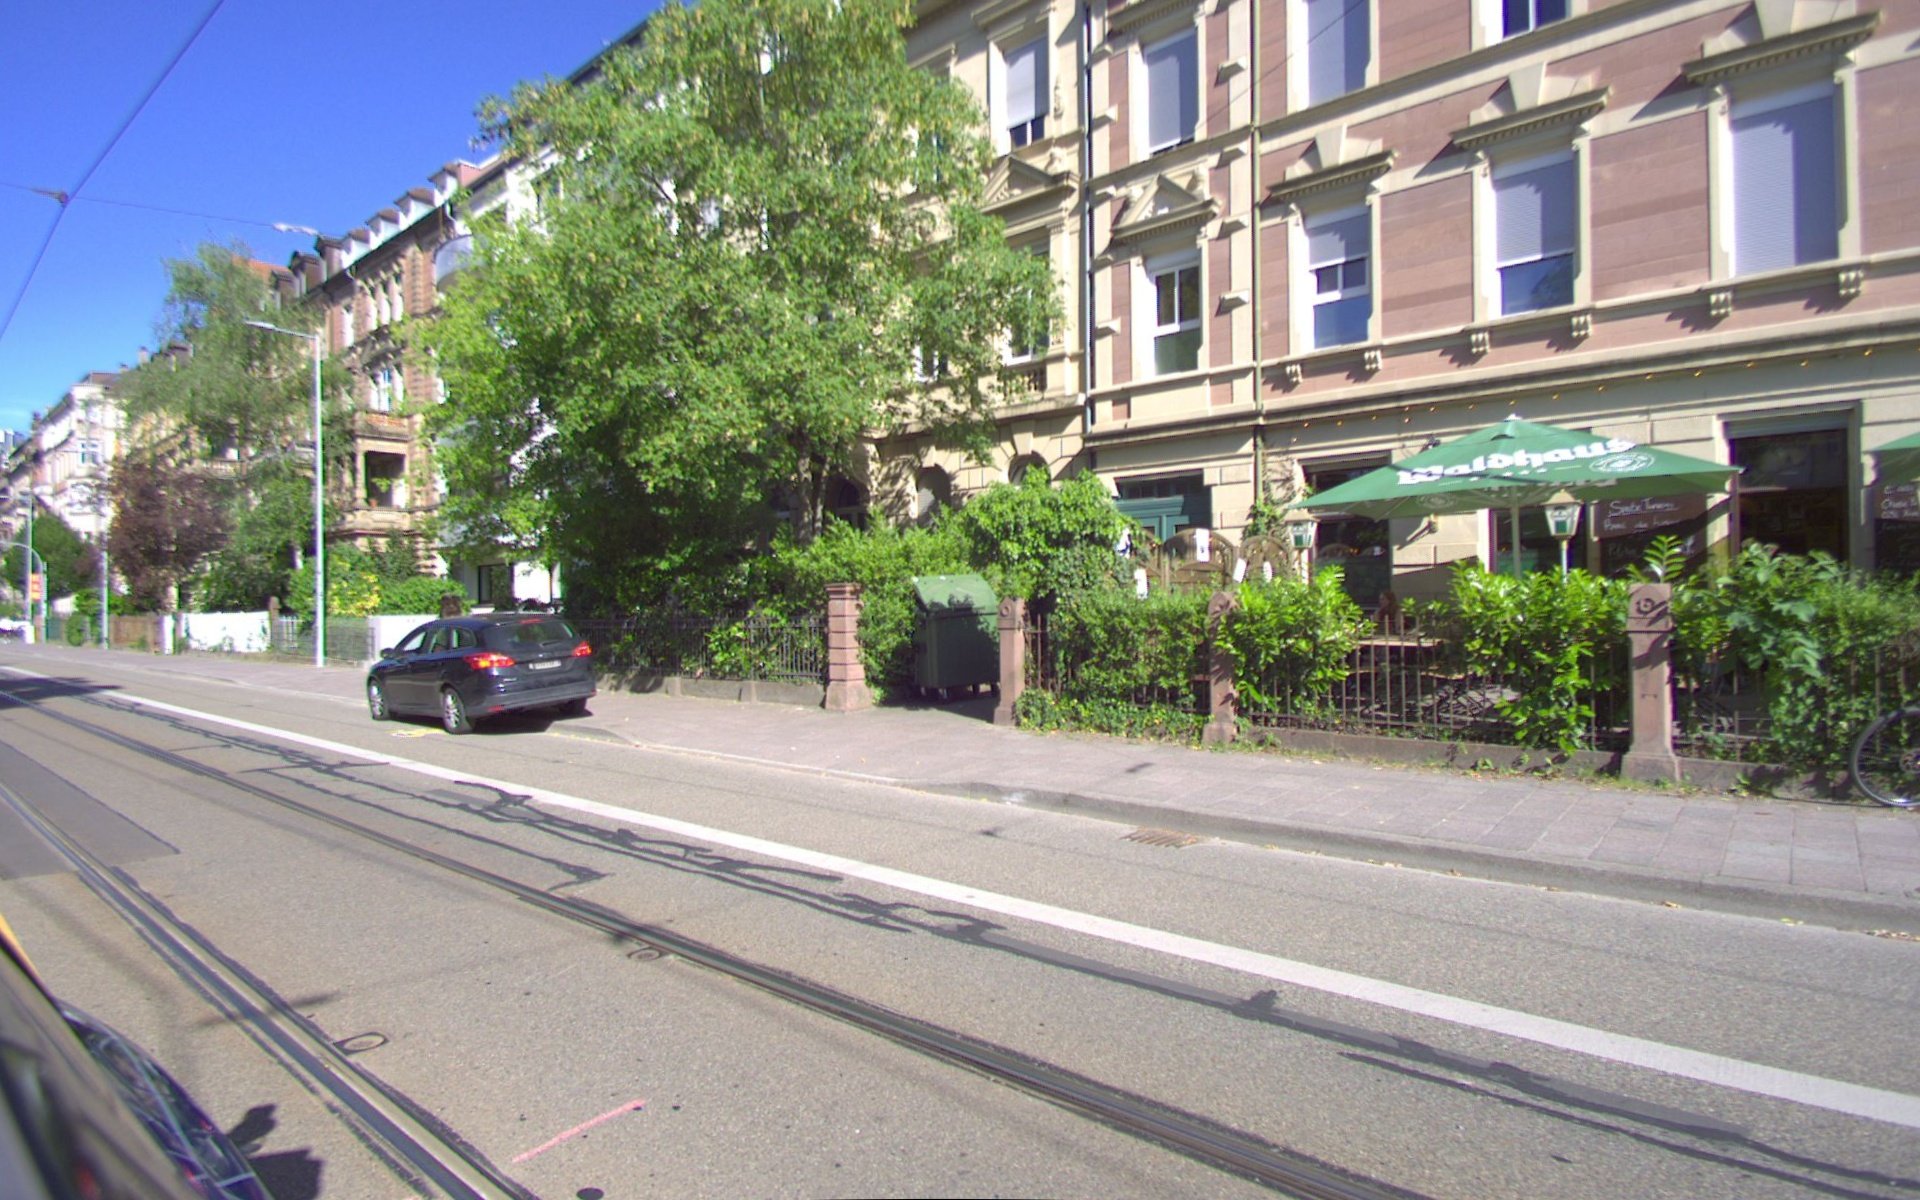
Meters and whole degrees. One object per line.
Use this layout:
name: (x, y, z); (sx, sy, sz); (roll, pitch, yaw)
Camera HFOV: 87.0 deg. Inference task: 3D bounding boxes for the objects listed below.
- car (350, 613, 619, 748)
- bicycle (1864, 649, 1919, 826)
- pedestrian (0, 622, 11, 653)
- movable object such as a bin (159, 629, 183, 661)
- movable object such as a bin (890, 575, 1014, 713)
car: (-6.808, 1.030, 14.254); (4.588, 1.588, 1.844); (-2, -3, 43)
bicycle: (6.608, 0.823, 5.710); (2.222, 1.046, 0.508); (-1, -1, 42)
pedestrian: (-58.149, 2.268, 61.404); (0.798, 1.850, 0.755); (0, -1, -41)
movable object such as a bin: (-30.016, 1.691, 38.501); (0.664, 1.184, 0.583); (-2, -1, 36)
movable object such as a bin: (-0.115, 0.572, 14.006); (1.268, 1.744, 1.045); (-4, 1, -33)
